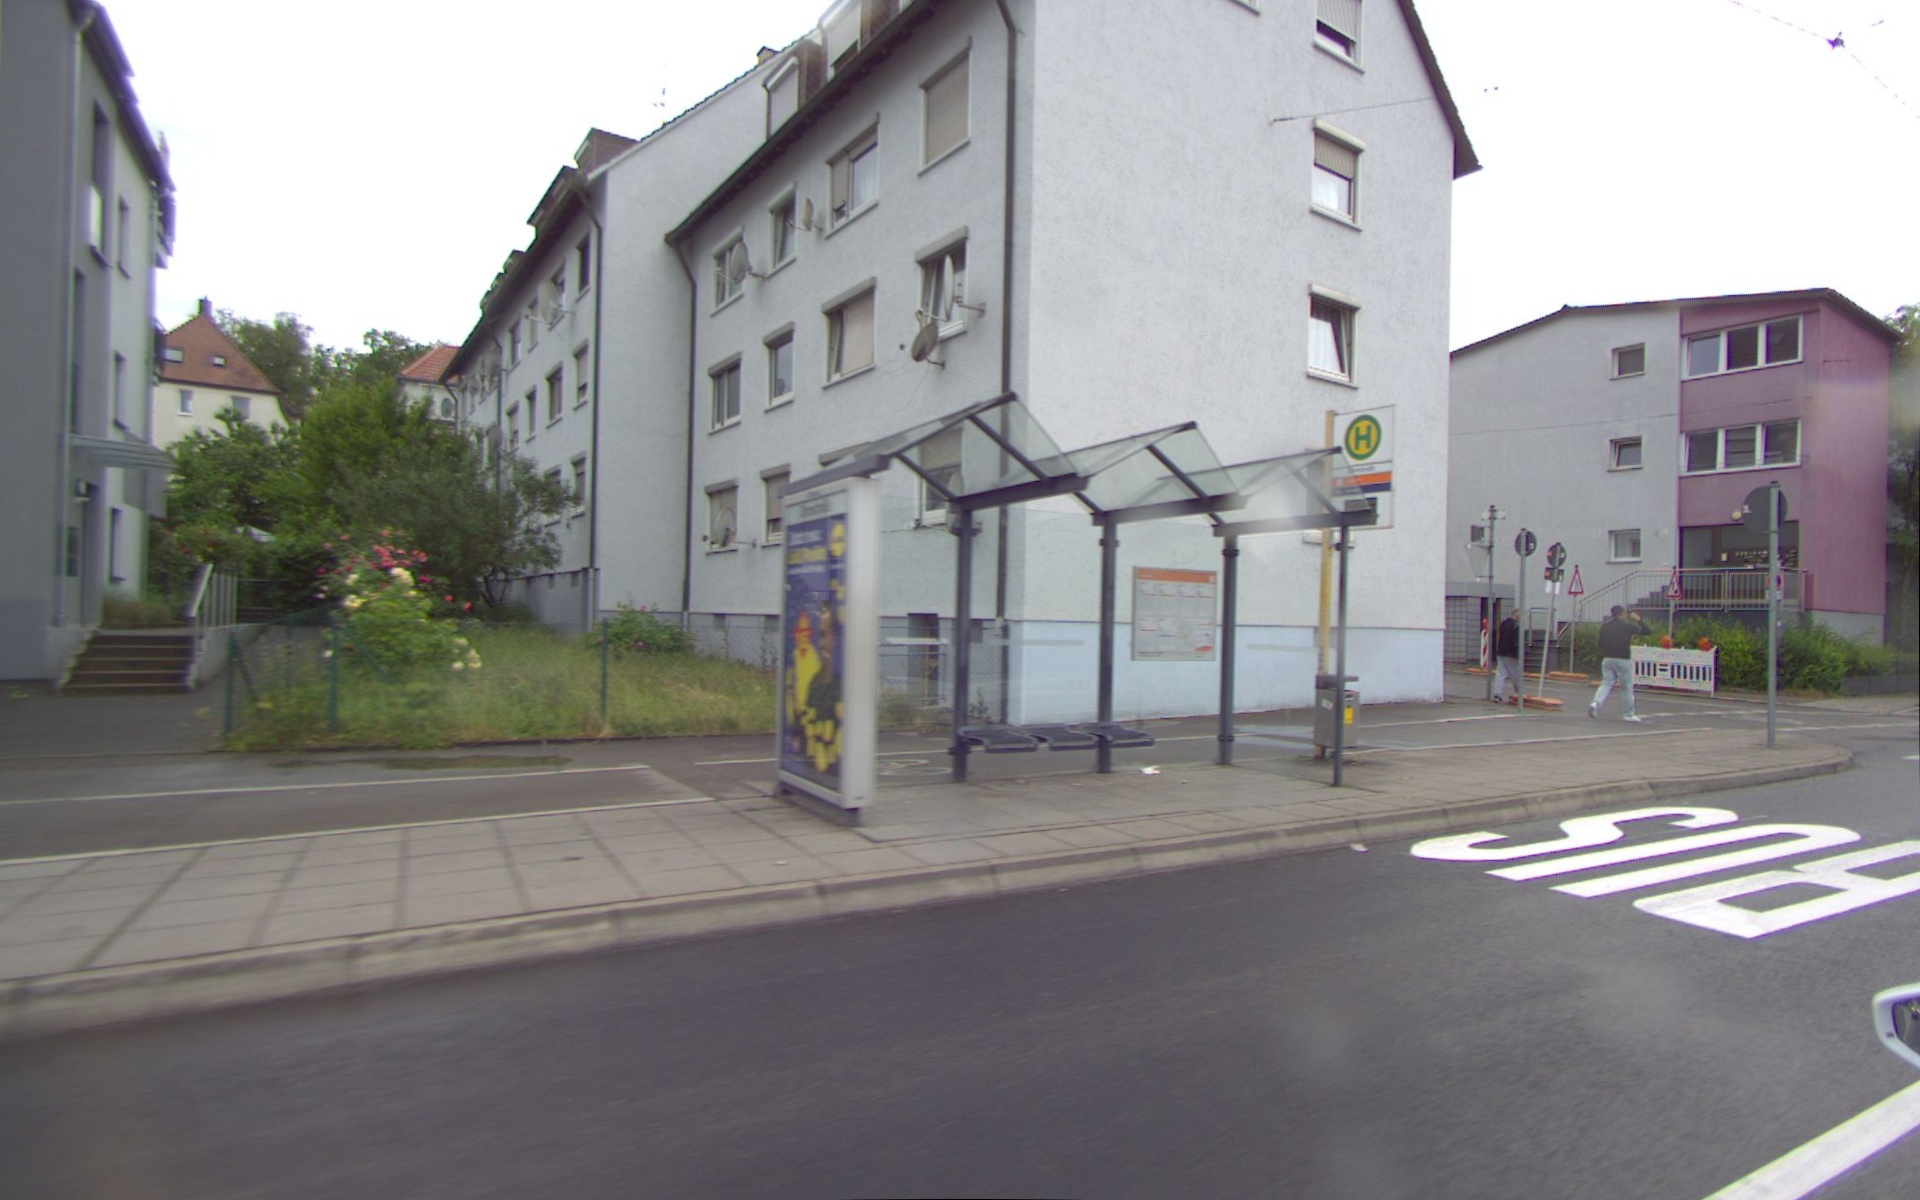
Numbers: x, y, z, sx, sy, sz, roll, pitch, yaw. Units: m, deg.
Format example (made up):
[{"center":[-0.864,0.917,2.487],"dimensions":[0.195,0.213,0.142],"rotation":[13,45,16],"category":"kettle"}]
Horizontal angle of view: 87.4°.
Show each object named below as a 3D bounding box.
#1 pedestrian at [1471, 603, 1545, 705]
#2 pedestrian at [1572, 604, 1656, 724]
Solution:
[{"center":[10.385,0.995,19.046],"dimensions":[1.105,1.846,0.800],"rotation":[1,0,-34],"category":"pedestrian"},{"center":[10.822,1.024,16.616],"dimensions":[1.034,1.907,0.856],"rotation":[1,-1,-35],"category":"pedestrian"}]
